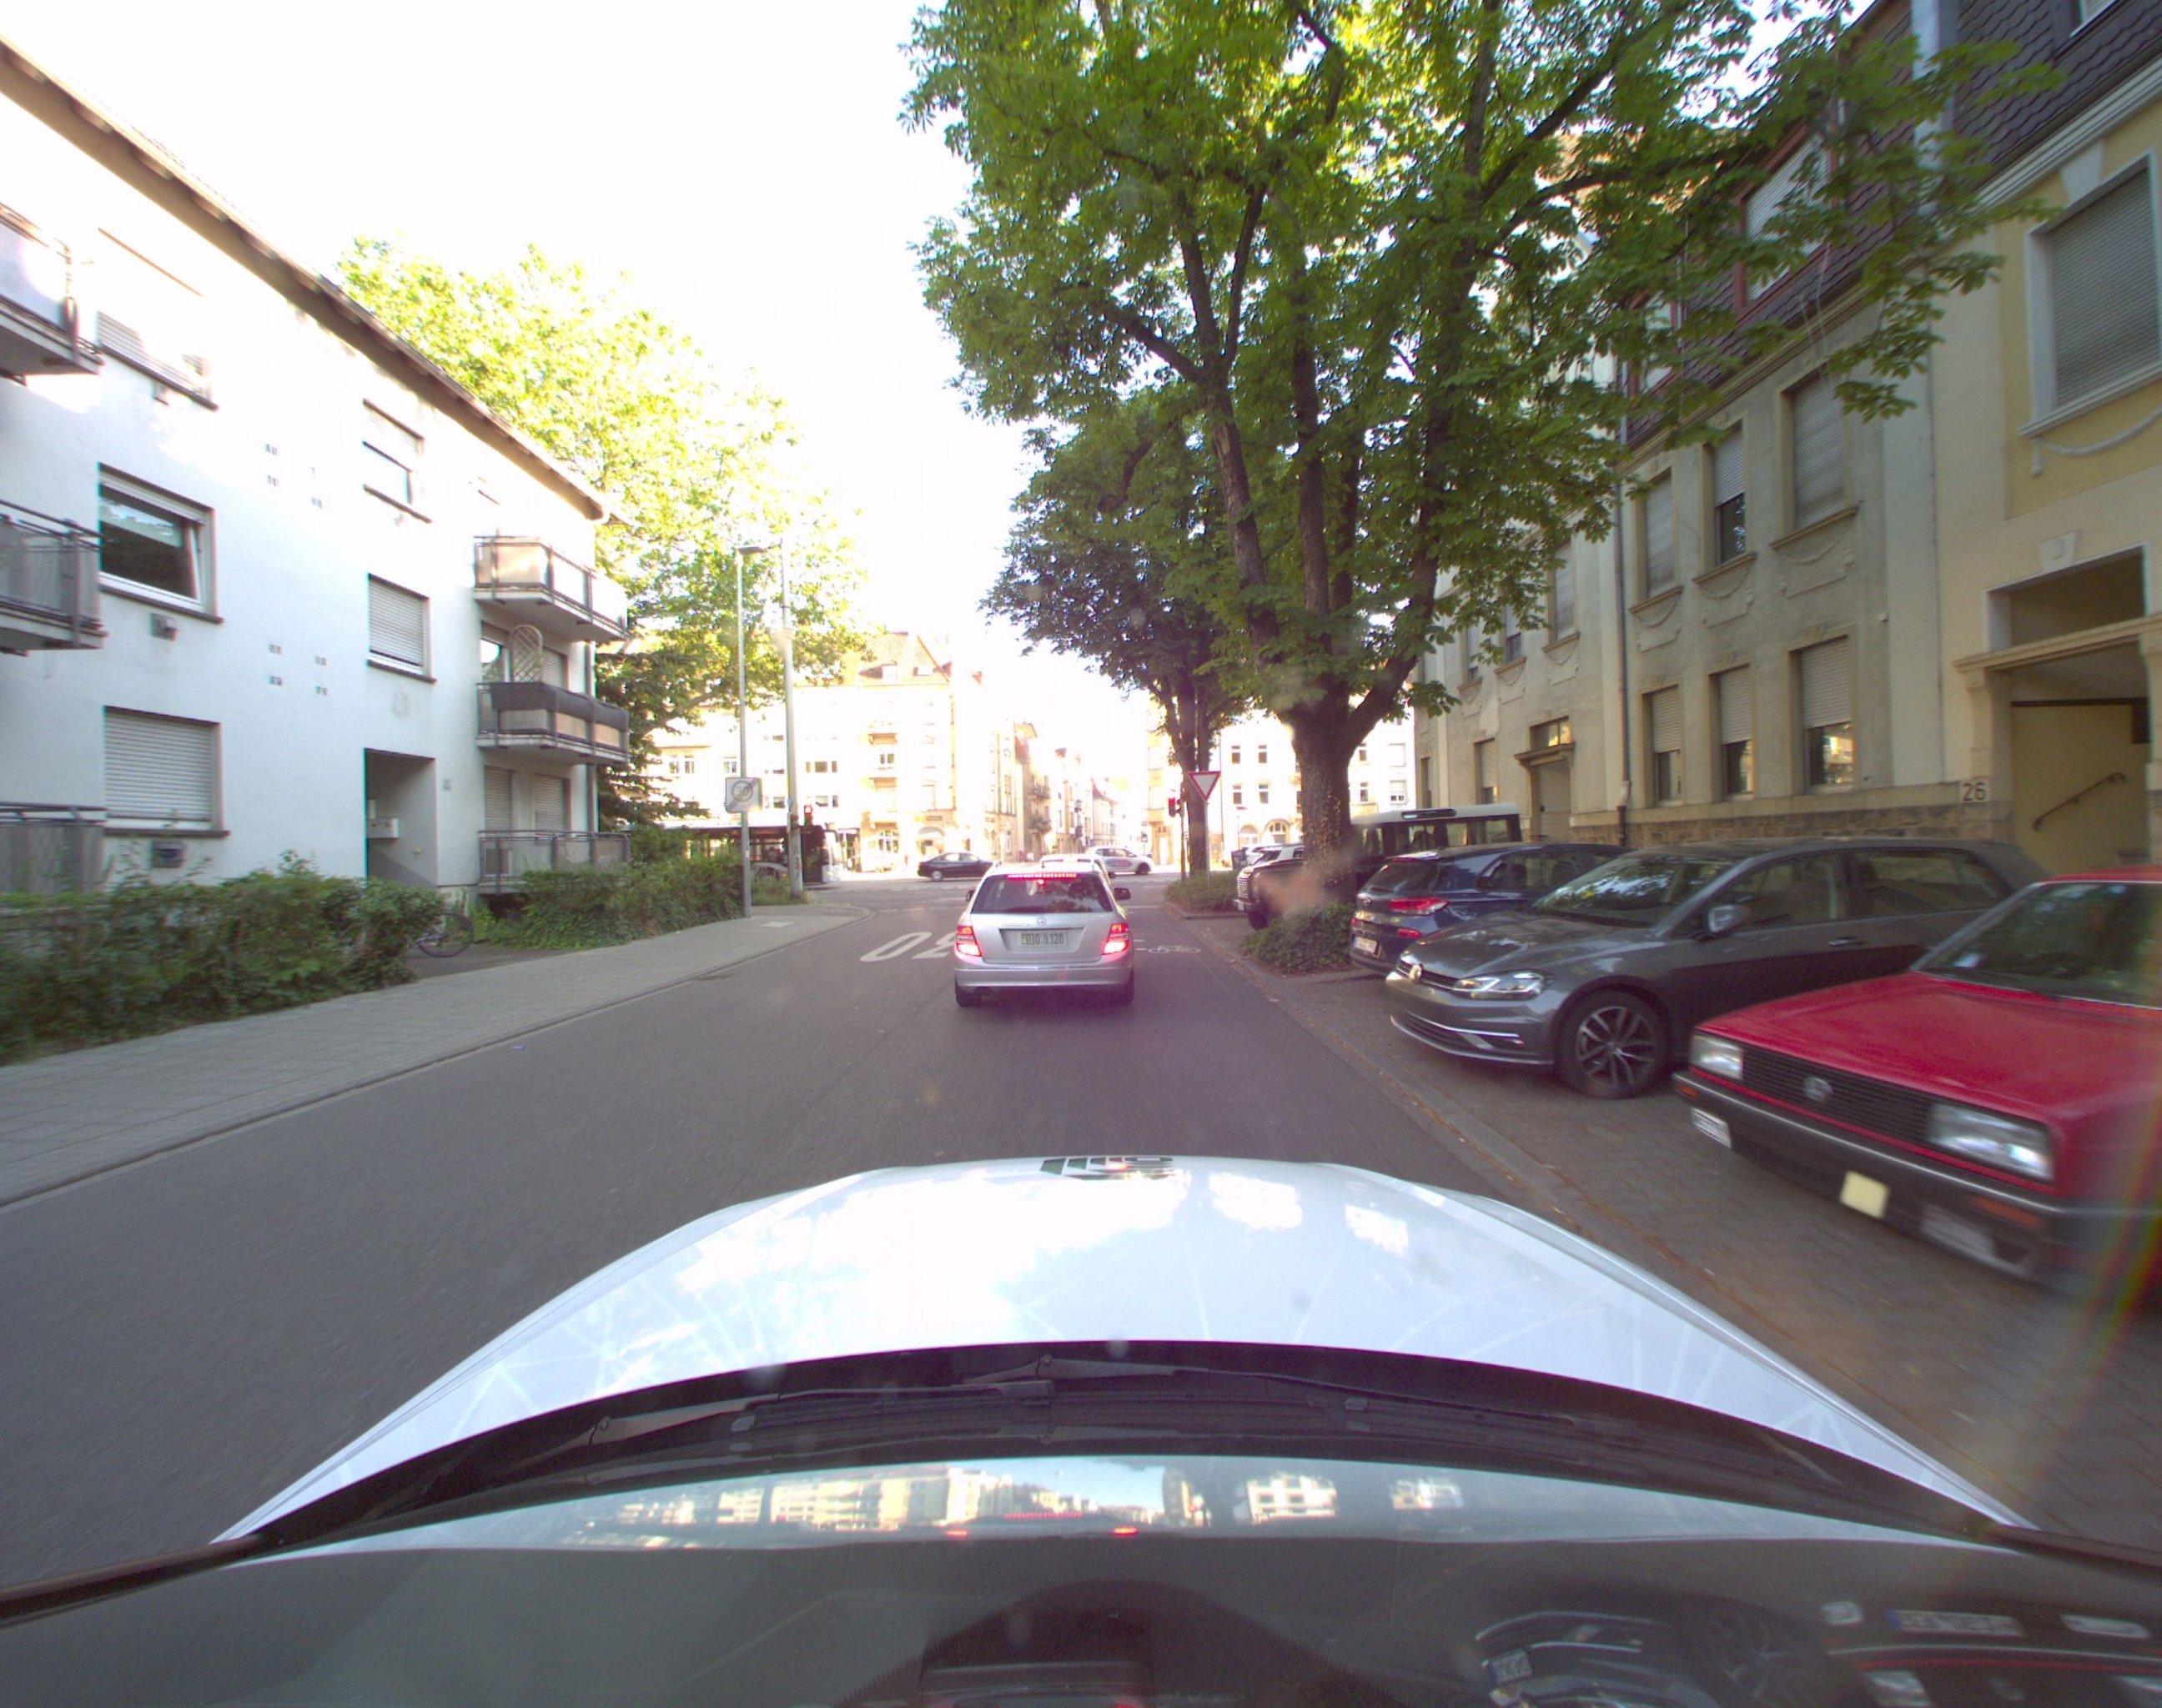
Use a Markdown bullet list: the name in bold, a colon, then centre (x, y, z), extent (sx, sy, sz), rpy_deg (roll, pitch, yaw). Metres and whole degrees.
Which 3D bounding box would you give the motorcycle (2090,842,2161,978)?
- **motorcycle**: centre (9.238, 0.452, 5.830), extent (0.955, 1.073, 2.482), rpy_deg (-4, 0, 2)

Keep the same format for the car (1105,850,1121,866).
- **car**: centre (4.770, 0.614, 120.591), extent (1.776, 2.204, 4.011), rpy_deg (-1, 1, 10)

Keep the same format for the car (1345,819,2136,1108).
- **car**: centre (4.118, 0.613, 5.548), extent (4.043, 1.452, 1.721), rpy_deg (-3, 0, -3)

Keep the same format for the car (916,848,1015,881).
- **car**: centre (-5.641, 0.494, 40.064), extent (4.684, 1.428, 1.715), rpy_deg (-2, 0, -7)

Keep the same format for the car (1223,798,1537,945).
- **car**: centre (4.750, 0.259, 13.336), extent (4.454, 2.036, 1.699), rpy_deg (-3, 0, -2)

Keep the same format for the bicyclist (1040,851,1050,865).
- **bicyclist**: centre (-3.425, 0.338, 76.838), extent (0.765, 1.290, 0.755), rpy_deg (-1, 0, 12)

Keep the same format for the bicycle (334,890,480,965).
- **bicycle**: centre (-9.969, 1.065, 12.110), extent (1.630, 1.008, 0.511), rpy_deg (1, -1, -39)

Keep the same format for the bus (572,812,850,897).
- **bus**: centre (-15.689, -0.024, 35.288), extent (10.441, 3.201, 2.905), rpy_deg (-2, 0, -7)

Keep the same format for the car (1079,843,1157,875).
- **car**: centre (1.814, 0.229, 40.809), extent (3.683, 1.449, 1.512), rpy_deg (-2, 0, -7)

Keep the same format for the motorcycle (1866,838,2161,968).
- **motorcycle**: centre (9.547, 0.403, 8.090), extent (0.691, 1.073, 2.870), rpy_deg (-4, 0, 1)

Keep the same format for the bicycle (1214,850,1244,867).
- **bicycle**: centre (11.546, 0.327, 63.497), extent (2.251, 1.246, 0.636), rpy_deg (-1, 0, -3)

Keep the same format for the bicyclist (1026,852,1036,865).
- **bicyclist**: centre (-4.725, 0.429, 76.850), extent (0.765, 1.156, 0.755), rpy_deg (-1, 0, 12)

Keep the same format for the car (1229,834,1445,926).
- **car**: centre (5.020, 0.482, 16.281), extent (3.714, 1.570, 1.707), rpy_deg (-3, 0, -2)

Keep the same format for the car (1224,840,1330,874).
- **car**: centre (9.415, 0.121, 39.208), extent (4.658, 1.448, 1.735), rpy_deg (-2, 0, -8)

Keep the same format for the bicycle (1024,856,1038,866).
- **bicycle**: centre (-4.741, 0.651, 76.773), extent (0.765, 0.940, 1.947), rpy_deg (-1, 1, 13)

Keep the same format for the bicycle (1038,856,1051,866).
- **bicycle**: centre (-3.420, 0.632, 76.838), extent (0.765, 0.934, 1.947), rpy_deg (-1, 1, 13)

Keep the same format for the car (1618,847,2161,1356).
- **car**: centre (4.705, 0.655, 3.231), extent (4.127, 1.315, 1.628), rpy_deg (-3, 0, -4)

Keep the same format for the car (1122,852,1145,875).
- **car**: centre (5.807, 1.002, 89.103), extent (2.018, 2.279, 4.011), rpy_deg (-1, 1, 10)

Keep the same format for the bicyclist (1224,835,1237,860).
- **bicyclist**: centre (11.650, -0.511, 63.502), extent (0.889, 1.859, 0.636), rpy_deg (-1, 0, -3)

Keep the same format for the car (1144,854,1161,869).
- **car**: centre (9.271, 0.941, 105.083), extent (1.824, 1.744, 4.011), rpy_deg (-1, 1, 10)

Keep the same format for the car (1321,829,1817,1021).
- **car**: centre (4.423, 0.595, 7.774), extent (3.714, 1.452, 1.707), rpy_deg (-3, 0, -2)

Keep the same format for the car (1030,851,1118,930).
- **car**: centre (-0.126, 0.674, 17.329), extent (1.614, 1.446, 4.343), rpy_deg (-1, 0, 0)

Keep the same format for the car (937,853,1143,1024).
- **car**: centre (-0.360, 0.728, 9.376), extent (1.771, 1.452, 4.547), rpy_deg (-1, 0, 0)

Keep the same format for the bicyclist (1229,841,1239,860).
- **bicyclist**: centre (11.637, -0.275, 61.987), extent (0.642, 1.426, 0.636), rpy_deg (-1, 0, -4)
